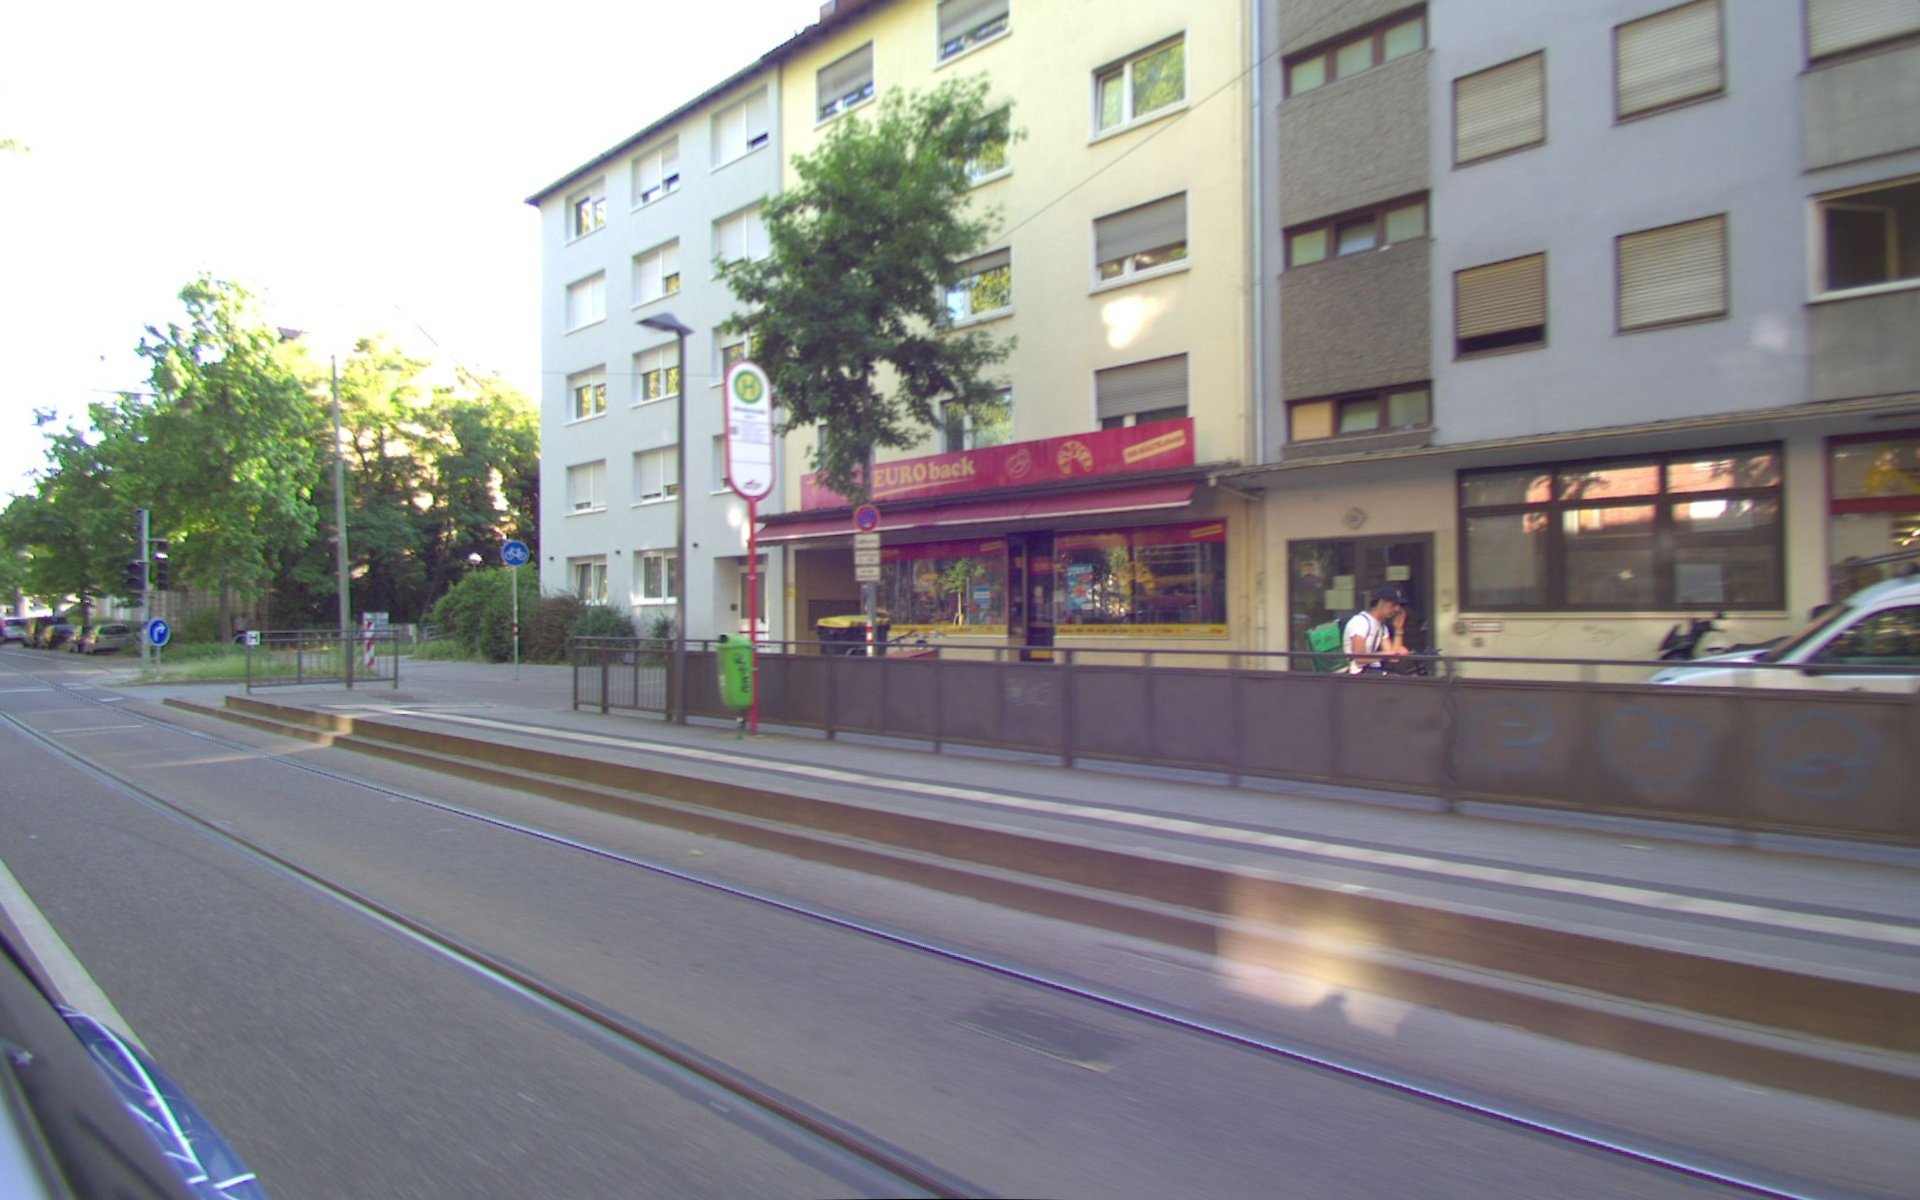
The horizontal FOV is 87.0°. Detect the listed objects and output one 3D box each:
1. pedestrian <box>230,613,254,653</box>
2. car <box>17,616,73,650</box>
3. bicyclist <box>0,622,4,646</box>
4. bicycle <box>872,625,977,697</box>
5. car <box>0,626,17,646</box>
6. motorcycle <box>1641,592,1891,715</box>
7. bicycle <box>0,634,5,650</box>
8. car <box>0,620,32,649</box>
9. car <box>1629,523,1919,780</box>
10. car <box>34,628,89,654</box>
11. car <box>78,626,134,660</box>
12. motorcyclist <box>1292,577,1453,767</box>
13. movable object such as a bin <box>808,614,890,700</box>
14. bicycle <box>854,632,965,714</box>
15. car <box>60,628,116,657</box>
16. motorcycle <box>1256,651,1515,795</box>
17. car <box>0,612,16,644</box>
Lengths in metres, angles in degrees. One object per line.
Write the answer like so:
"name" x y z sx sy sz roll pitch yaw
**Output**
"pedestrian" -34.206 1.561 48.191 0.728 1.861 0.734 -2 0 39
"car" -57.450 2.056 63.502 4.830 2.029 1.973 -2 -2 40
"bicyclist" -59.759 2.126 62.691 0.836 1.466 0.634 -1 -2 40
"bicycle" -0.609 0.987 16.754 1.798 1.116 0.494 -1 2 39
"car" -75.512 2.846 79.512 3.705 1.551 1.667 -2 -2 41
"motorcycle" 9.339 0.597 11.826 2.221 1.321 0.592 -2 -2 41
"bicycle" -59.786 2.600 62.694 2.099 0.994 0.634 -1 -2 40
"car" -68.349 2.457 72.865 4.986 2.004 1.824 -2 -2 42
"car" 7.963 0.398 8.245 3.998 1.955 1.670 -2 -2 41
"car" -53.267 2.402 59.967 4.266 1.469 1.834 -2 -2 40
"car" -42.083 2.071 49.853 4.537 1.562 1.680 -2 -1 44
"motorcyclist" 3.410 0.577 8.395 1.103 1.460 0.589 -2 -4 42
"movable object such as a bin" -1.900 0.957 17.400 0.782 1.358 1.159 -1 2 37
"bicycle" -0.759 1.091 15.545 0.885 1.083 1.518 -2 1 40
"car" -45.757 2.203 53.086 3.946 1.456 1.641 -2 -1 41
"motorcycle" 3.446 0.951 8.328 1.877 1.040 0.589 -2 -4 42
"car" -79.496 2.298 83.062 5.338 2.527 2.281 -2 -2 40
